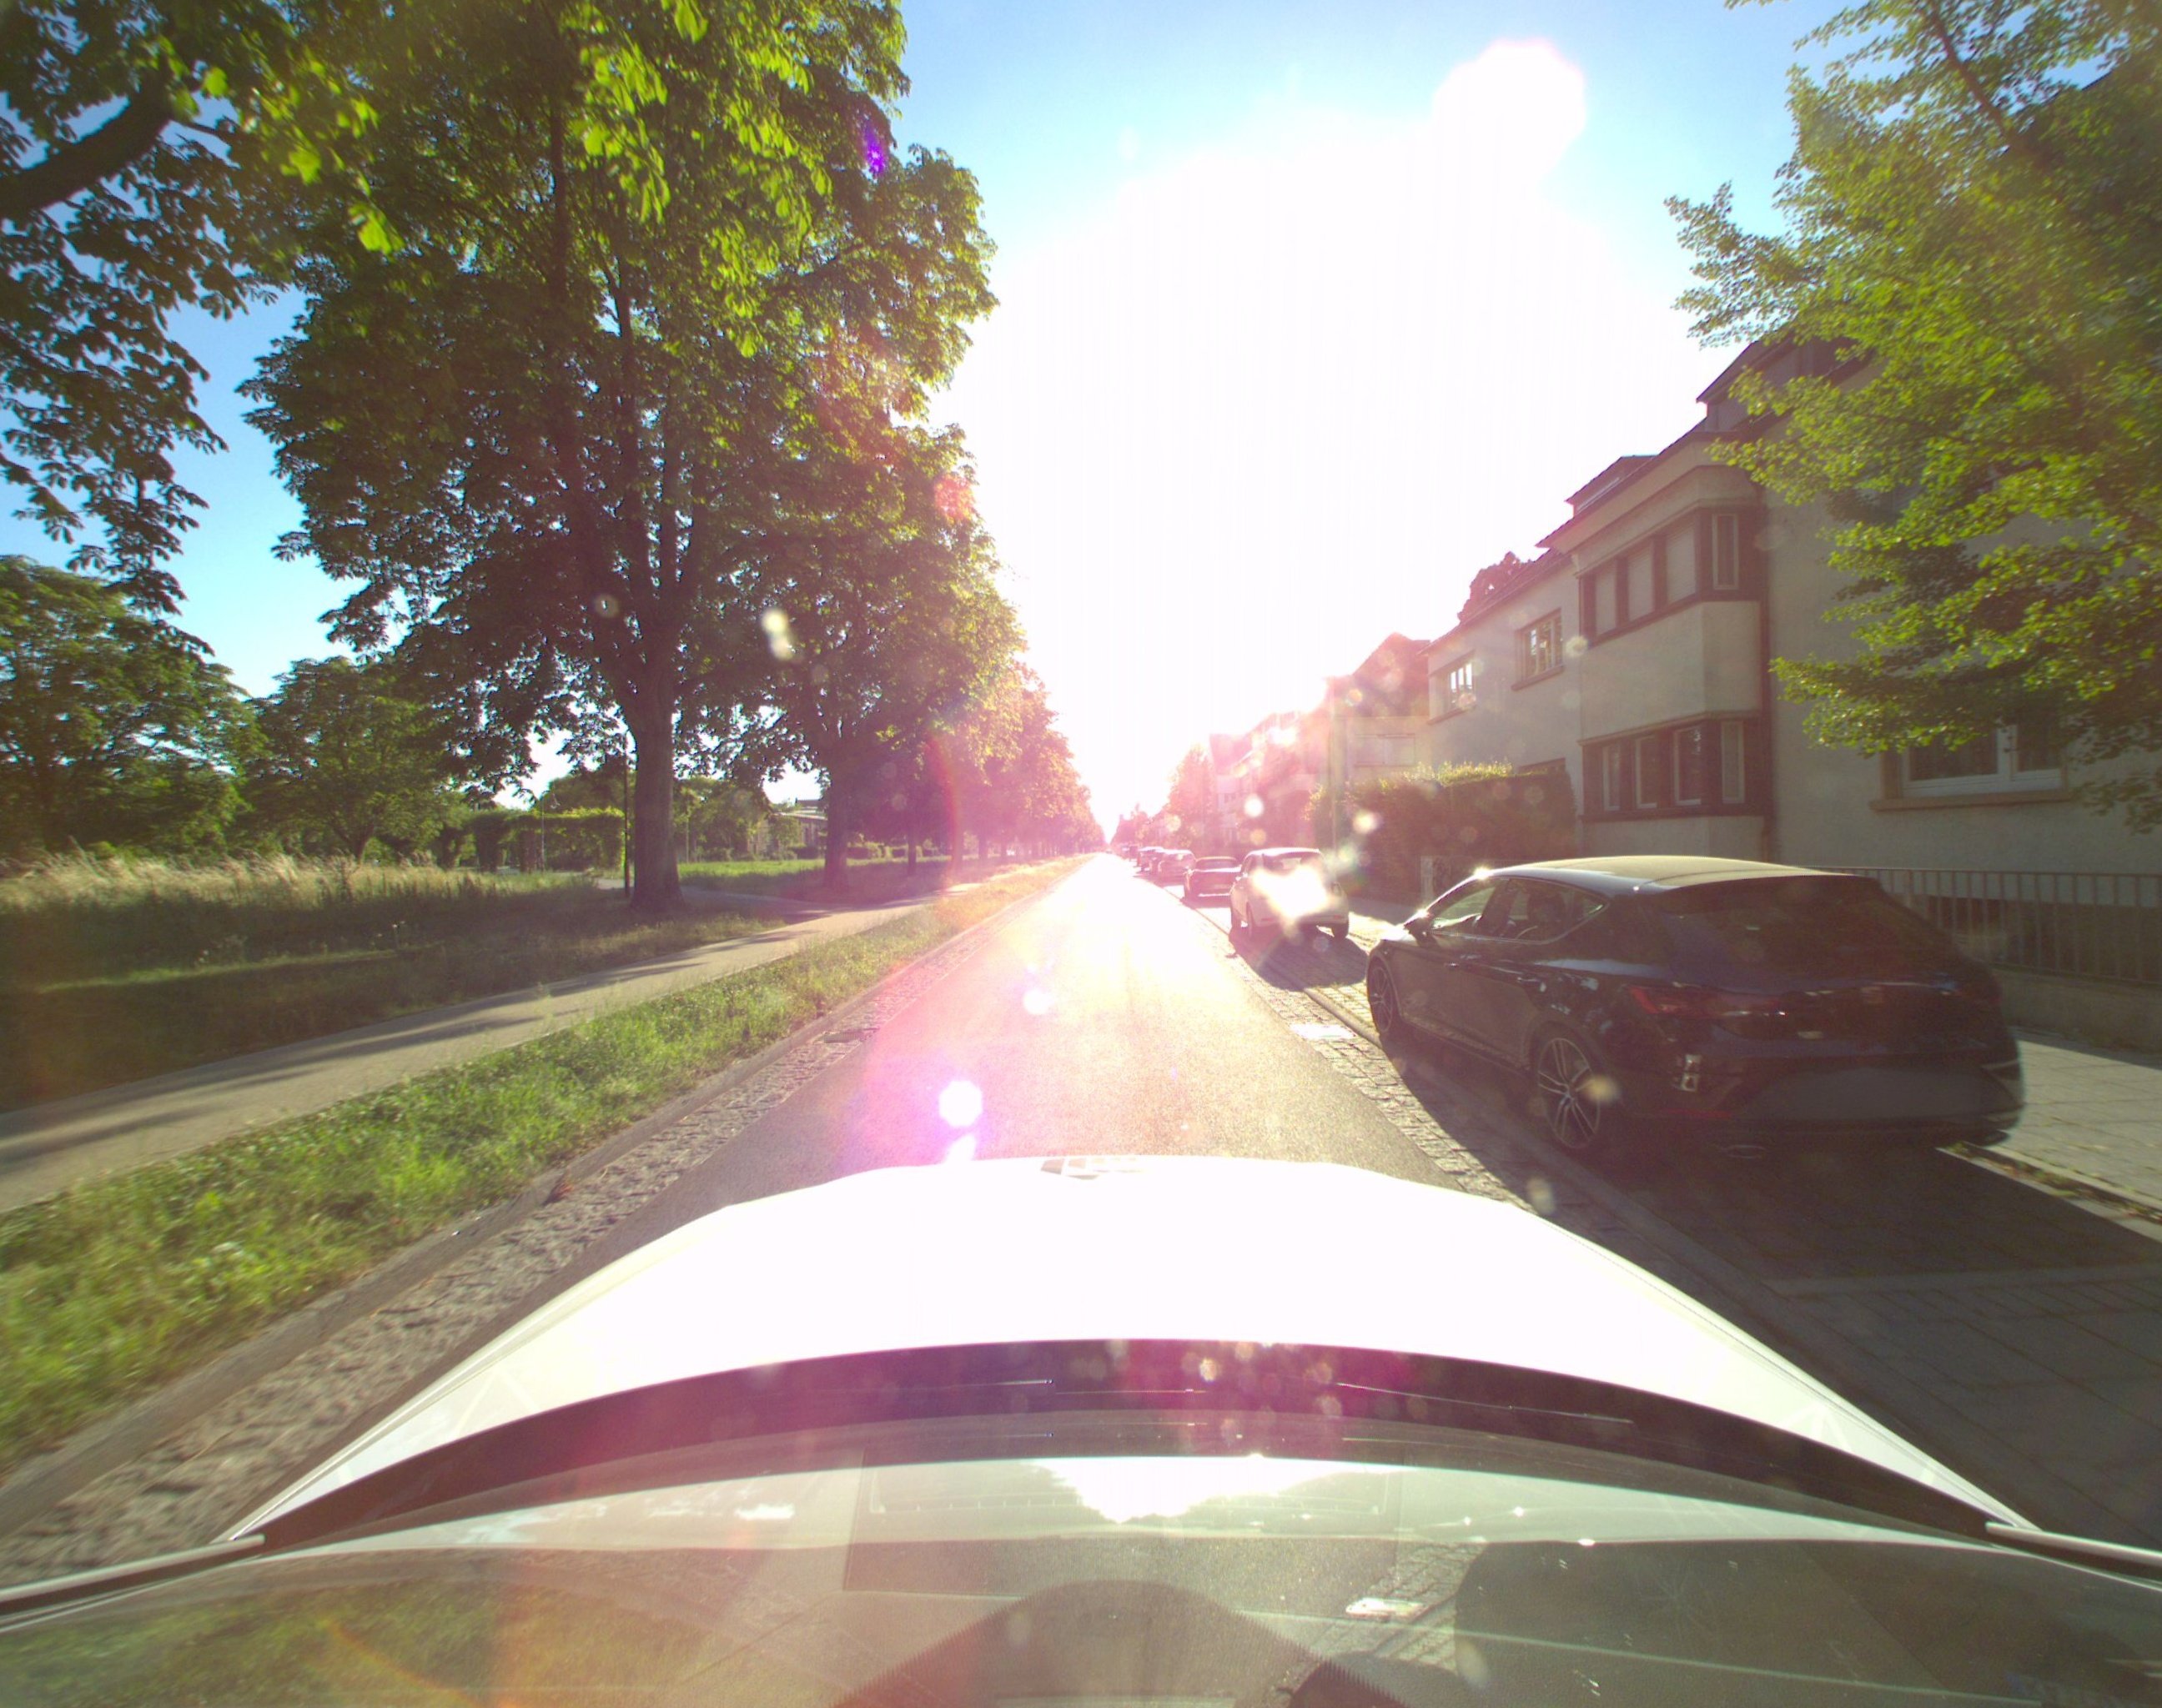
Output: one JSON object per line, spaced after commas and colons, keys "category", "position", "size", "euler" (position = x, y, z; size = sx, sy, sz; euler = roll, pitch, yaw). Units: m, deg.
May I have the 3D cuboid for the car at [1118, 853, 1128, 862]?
{"category": "car", "position": [7.034, 0.561, 136.454], "size": [1.645, 1.541, 3.269], "euler": [0, 0, 3]}

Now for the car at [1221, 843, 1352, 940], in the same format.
{"category": "car", "position": [3.576, 0.600, 14.736], "size": [1.586, 1.510, 3.594], "euler": [-1, 0, 3]}

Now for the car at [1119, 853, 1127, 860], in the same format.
{"category": "car", "position": [8.425, 0.505, 162.989], "size": [1.645, 1.541, 3.269], "euler": [0, 0, 3]}

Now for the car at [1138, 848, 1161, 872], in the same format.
{"category": "car", "position": [4.774, 0.409, 57.027], "size": [1.492, 1.567, 3.269], "euler": [-1, 0, 3]}

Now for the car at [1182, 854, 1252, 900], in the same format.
{"category": "car", "position": [4.019, 0.633, 24.614], "size": [1.686, 1.248, 3.500], "euler": [-1, 0, 3]}

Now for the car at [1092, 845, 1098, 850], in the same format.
{"category": "car", "position": [4.025, -1.859, 228.794], "size": [1.646, 1.541, 3.268], "euler": [0, 0, 2]}

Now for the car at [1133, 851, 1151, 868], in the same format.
{"category": "car", "position": [5.866, 0.526, 78.648], "size": [1.645, 1.541, 3.269], "euler": [-1, 0, 3]}

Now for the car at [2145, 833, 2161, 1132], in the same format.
{"category": "car", "position": [3.394, 0.655, 0.159], "size": [1.649, 1.494, 3.722], "euler": [-3, 0, 6]}

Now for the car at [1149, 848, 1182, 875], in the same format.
{"category": "car", "position": [4.711, 0.395, 45.605], "size": [1.645, 1.396, 3.269], "euler": [-1, 0, 3]}

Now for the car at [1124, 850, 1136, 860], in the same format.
{"category": "car", "position": [7.152, 0.153, 118.778], "size": [1.645, 1.541, 3.269], "euler": [0, 0, 3]}

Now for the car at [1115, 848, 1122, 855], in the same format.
{"category": "car", "position": [8.952, -0.576, 193.801], "size": [1.646, 1.541, 3.268], "euler": [0, 0, 2]}

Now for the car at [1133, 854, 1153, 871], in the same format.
{"category": "car", "position": [5.317, 0.698, 69.708], "size": [1.587, 1.434, 3.269], "euler": [-1, 0, 3]}

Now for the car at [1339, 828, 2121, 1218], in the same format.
{"category": "car", "position": [3.209, 0.677, 5.295], "size": [1.731, 1.449, 4.197], "euler": [-3, -1, 1]}

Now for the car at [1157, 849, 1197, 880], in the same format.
{"category": "car", "position": [4.504, 0.475, 38.441], "size": [1.645, 1.396, 3.269], "euler": [-1, 0, 3]}
